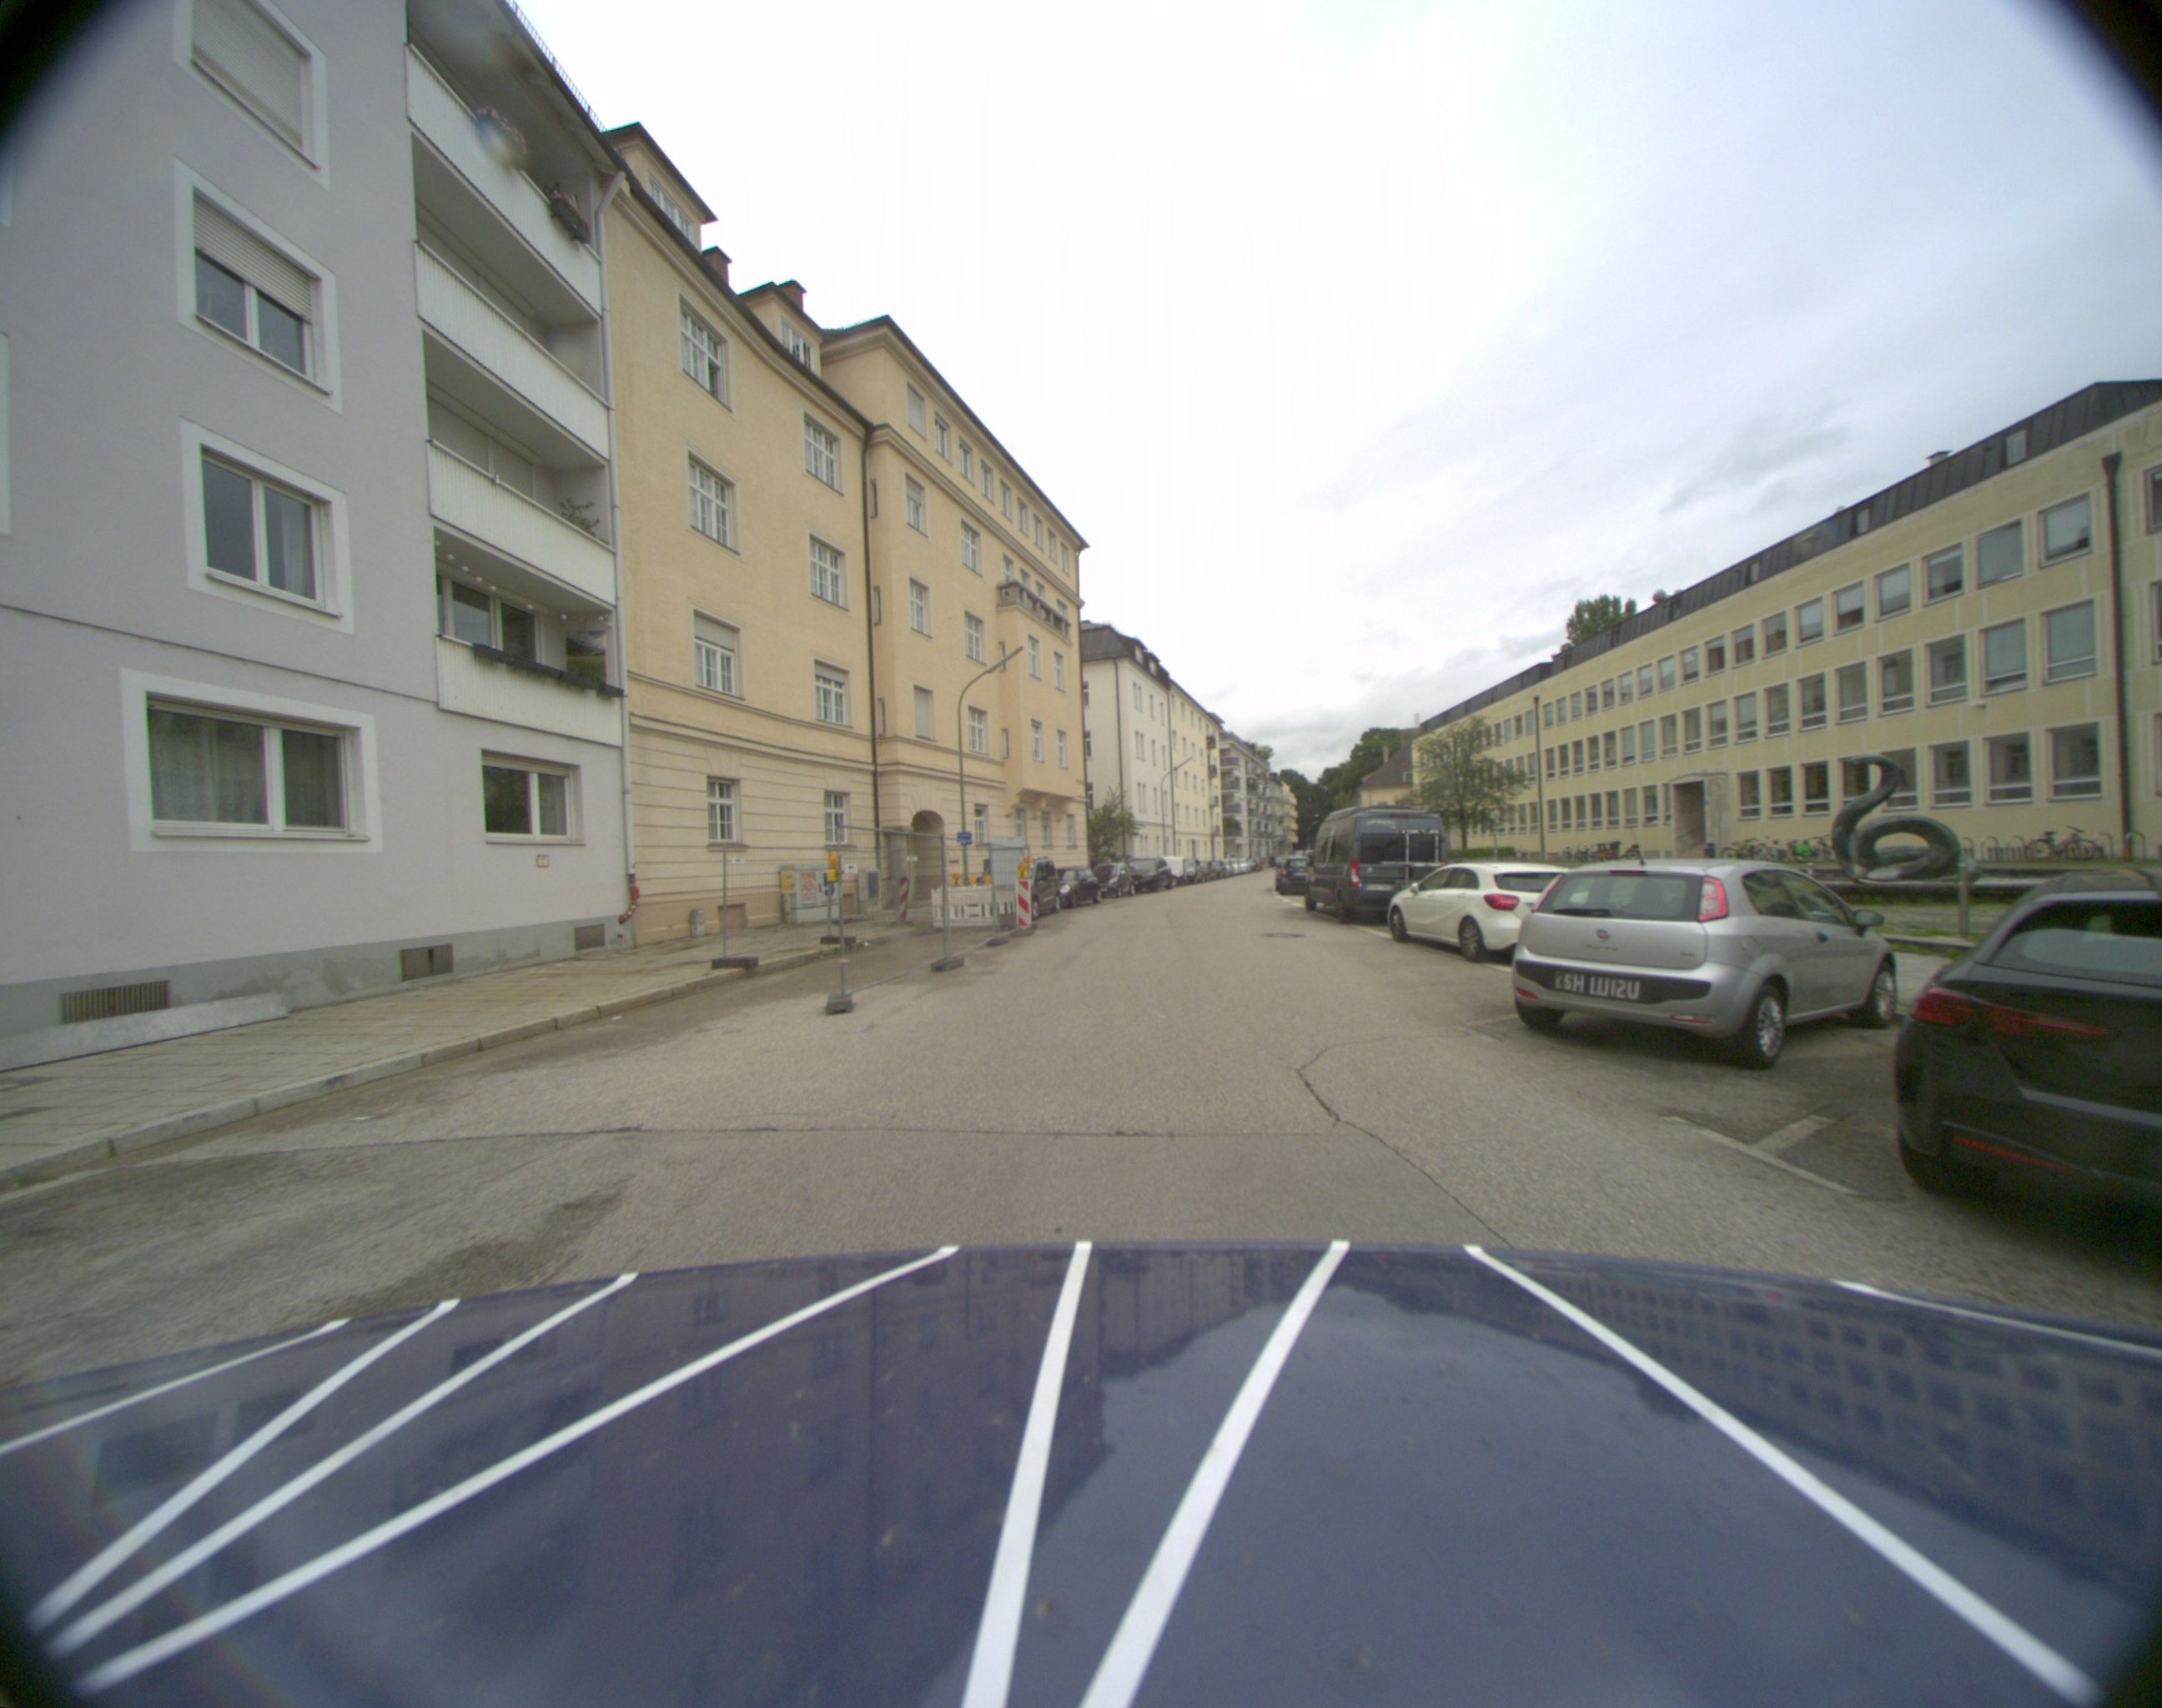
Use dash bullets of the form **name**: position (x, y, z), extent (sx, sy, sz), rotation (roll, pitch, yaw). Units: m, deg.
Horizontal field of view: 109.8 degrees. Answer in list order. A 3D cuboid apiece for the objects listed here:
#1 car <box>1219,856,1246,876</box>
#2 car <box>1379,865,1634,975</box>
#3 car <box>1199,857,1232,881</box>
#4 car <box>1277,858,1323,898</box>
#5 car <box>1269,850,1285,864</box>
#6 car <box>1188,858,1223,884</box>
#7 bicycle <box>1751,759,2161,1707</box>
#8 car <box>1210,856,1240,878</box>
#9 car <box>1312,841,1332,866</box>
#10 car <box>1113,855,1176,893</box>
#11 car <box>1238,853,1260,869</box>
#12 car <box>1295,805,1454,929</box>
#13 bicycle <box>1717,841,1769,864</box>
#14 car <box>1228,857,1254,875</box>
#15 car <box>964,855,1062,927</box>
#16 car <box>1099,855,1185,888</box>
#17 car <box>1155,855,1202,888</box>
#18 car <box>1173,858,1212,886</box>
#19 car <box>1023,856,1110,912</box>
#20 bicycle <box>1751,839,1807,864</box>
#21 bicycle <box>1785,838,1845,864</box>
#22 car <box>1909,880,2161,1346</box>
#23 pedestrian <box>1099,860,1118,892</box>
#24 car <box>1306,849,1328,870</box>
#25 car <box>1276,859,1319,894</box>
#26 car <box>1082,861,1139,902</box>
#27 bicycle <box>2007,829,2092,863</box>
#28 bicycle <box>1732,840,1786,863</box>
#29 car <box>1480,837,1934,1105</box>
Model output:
- **car**: position (13.544, 1.032, 67.807), extent (1.780, 1.581, 3.707), rotation (-4, 0, 19)
- **car**: position (6.441, 0.904, 12.140), extent (1.831, 1.379, 4.142), rotation (1, 0, 2)
- **car**: position (10.322, 1.110, 58.220), extent (1.780, 1.581, 3.707), rotation (-4, 0, 19)
- **car**: position (8.670, 0.898, 30.119), extent (1.669, 1.451, 2.871), rotation (0, 1, 15)
- **car**: position (26.918, 0.331, 104.096), extent (1.637, 1.725, 3.885), rotation (-4, 0, 20)
- **car**: position (8.943, 1.180, 54.346), extent (1.780, 1.581, 3.707), rotation (-4, 0, 19)
- **bicycle**: position (2.169, 0.683, 0.396), extent (0.797, 1.712, 3.115), rotation (0, -1, -2)
- **car**: position (11.893, 1.078, 62.555), extent (1.780, 1.581, 3.707), rotation (-4, 0, 19)
- **car**: position (27.260, -0.059, 85.840), extent (1.995, 2.702, 4.966), rotation (0, 1, 20)
- **car**: position (3.307, 0.984, 38.635), extent (1.930, 1.719, 4.694), rotation (-4, -2, 20)
- **car**: position (17.125, 0.702, 77.257), extent (1.740, 1.367, 4.027), rotation (-4, 0, 18)
- **car**: position (7.004, 0.282, 18.988), extent (2.148, 2.559, 6.214), rotation (-1, 0, 6)
- **bicycle**: position (30.727, -0.060, 35.290), extent (1.905, 0.911, 0.438), rotation (-4, 0, 4)
- **car**: position (15.159, 1.103, 71.907), extent (1.839, 1.450, 4.027), rotation (-4, 0, 18)
- **car**: position (-1.863, 0.993, 22.266), extent (1.840, 1.788, 4.241), rotation (-4, 0, 7)
- **car**: position (3.528, 1.011, 44.605), extent (4.921, 1.761, 1.885), rotation (-2, 1, 1)
- **car**: position (5.913, 0.997, 45.558), extent (1.780, 1.720, 4.395), rotation (-4, 0, 20)
- **car**: position (7.439, 1.166, 50.517), extent (1.780, 1.581, 3.707), rotation (-4, 0, 19)
- **car**: position (-0.430, 1.024, 27.592), extent (1.839, 1.720, 3.735), rotation (-4, 0, 20)
- **bicycle**: position (30.608, -0.110, 33.309), extent (1.905, 0.911, 0.438), rotation (-4, 0, 4)
- **bicycle**: position (30.569, -0.130, 31.653), extent (1.905, 0.911, 0.438), rotation (-4, 0, 4)
- **car**: position (5.269, 0.860, 3.209), extent (4.014, 1.365, 1.745), rotation (0, 0, -33)
- **pedestrian**: position (1.613, 1.286, 44.232), extent (0.694, 1.750, 0.684), rotation (-4, 0, -39)
- **car**: position (22.823, 0.502, 73.426), extent (1.946, 1.965, 4.360), rotation (-1, 1, 17)
- **car**: position (9.730, 0.957, 34.293), extent (1.723, 1.356, 4.217), rotation (0, 1, 15)
- **car**: position (1.345, 1.183, 33.142), extent (1.509, 1.547, 2.866), rotation (-4, 0, 22)
- **bicycle**: position (30.166, -0.239, 23.673), extent (1.905, 0.911, 0.438), rotation (-4, 0, 4)
- **bicycle**: position (30.654, -0.109, 34.351), extent (1.905, 0.911, 0.438), rotation (-4, 0, 4)
- **car**: position (5.490, 0.758, 6.562), extent (3.988, 1.521, 1.672), rotation (-4, 0, -30)
